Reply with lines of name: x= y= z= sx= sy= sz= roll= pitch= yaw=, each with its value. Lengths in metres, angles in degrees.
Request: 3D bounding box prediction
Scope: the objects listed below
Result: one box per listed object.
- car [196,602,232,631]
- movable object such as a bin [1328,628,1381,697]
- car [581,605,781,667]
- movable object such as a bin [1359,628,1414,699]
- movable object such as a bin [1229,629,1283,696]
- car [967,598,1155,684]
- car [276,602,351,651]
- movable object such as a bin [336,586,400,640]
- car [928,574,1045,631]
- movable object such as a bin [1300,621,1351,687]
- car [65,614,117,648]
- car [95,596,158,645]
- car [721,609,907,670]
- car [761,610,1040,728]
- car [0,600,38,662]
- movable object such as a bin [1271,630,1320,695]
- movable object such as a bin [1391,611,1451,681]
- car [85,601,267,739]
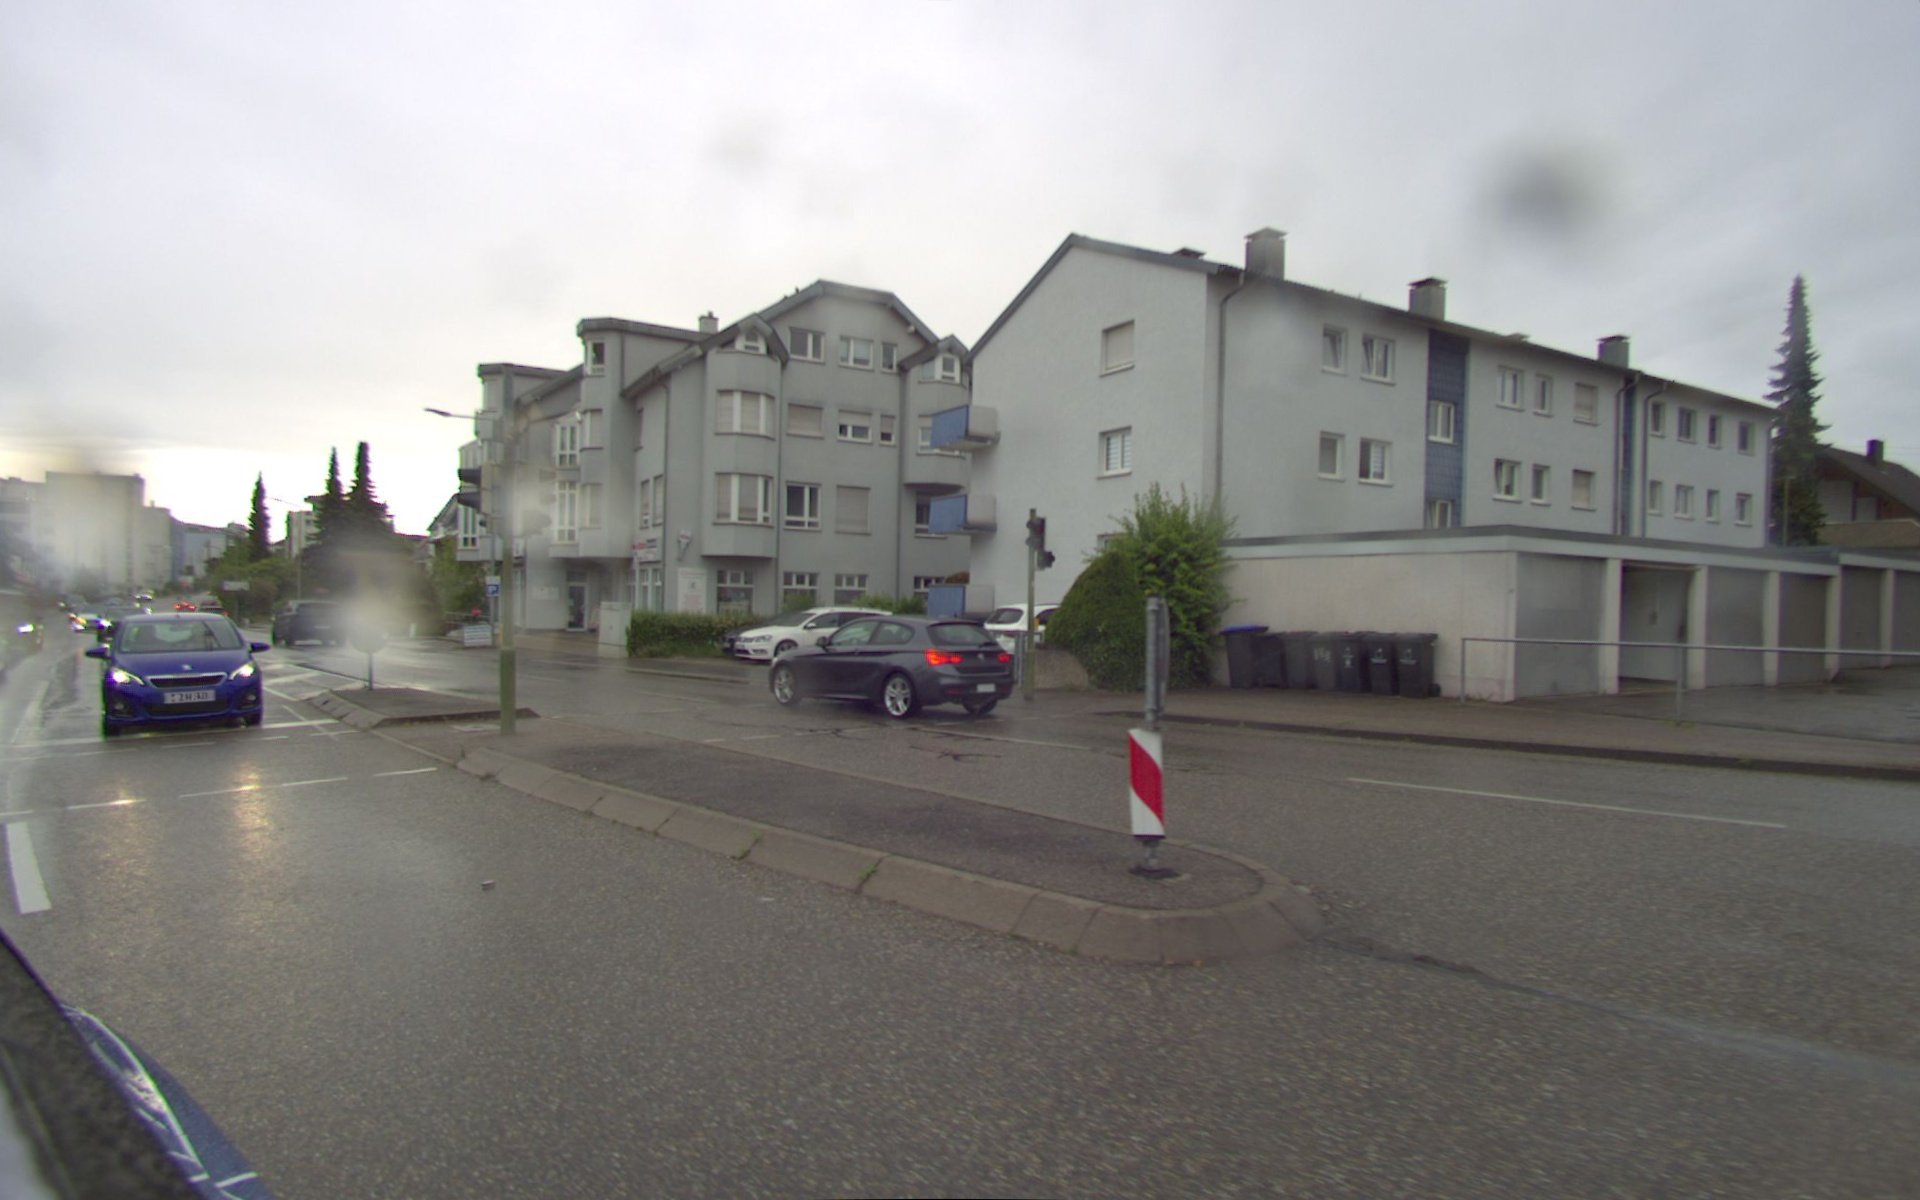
car: x=-54.286 y=1.195 z=73.639 sx=1.968 sy=2.029 sz=4.007 roll=0 pitch=-1 yaw=-39
movable object such as a bin: x=6.028 y=0.941 z=15.466 sx=0.492 sy=0.968 sz=0.536 roll=-4 pitch=3 yaw=-31
car: x=-8.287 y=1.012 z=30.347 sx=5.392 sy=1.696 sz=2.152 roll=0 pitch=-1 yaw=-38
movable object such as a bin: x=6.314 y=0.928 z=14.983 sx=0.492 sy=0.968 sz=0.536 roll=-4 pitch=2 yaw=-31
movable object such as a bin: x=4.963 y=1.031 z=16.970 sx=0.492 sy=1.026 sz=0.689 roll=-4 pitch=3 yaw=-31
car: x=2.299 y=0.864 z=22.686 sx=3.933 sy=1.763 sz=1.834 roll=0 pitch=-1 yaw=-35
car: x=-26.054 y=1.027 z=40.705 sx=2.070 sy=1.847 sz=4.742 roll=0 pitch=-1 yaw=-39
movable object such as a bin: x=-32.383 y=0.693 z=55.442 sx=2.877 sy=2.863 sz=2.204 roll=0 pitch=-1 yaw=-26
car: x=0.957 y=0.095 z=37.568 sx=3.932 sy=2.029 sz=2.006 roll=0 pitch=-1 yaw=-16
movable object such as a bin: x=5.754 y=0.842 z=15.924 sx=0.492 sy=0.968 sz=0.536 roll=-4 pitch=3 yaw=-31
car: x=-49.680 y=1.752 z=57.836 sx=1.970 sy=1.874 sz=4.003 roll=3 pitch=-2 yaw=-44
car: x=-36.213 y=0.888 z=44.050 sx=1.968 sy=2.029 sz=4.008 roll=0 pitch=-1 yaw=-38
car: x=-3.858 y=1.015 z=27.125 sx=4.549 sy=1.508 sz=1.934 roll=1 pitch=-1 yaw=-34
car: x=-0.991 y=0.900 z=14.933 sx=4.165 sy=1.483 sz=1.768 roll=-1 pitch=-1 yaw=44
car: x=-30.847 y=0.948 z=32.269 sx=1.970 sy=1.874 sz=4.003 roll=3 pitch=-2 yaw=-44
movable object such as a bin: x=5.440 y=0.997 z=16.400 sx=0.492 sy=0.968 sz=0.536 roll=-4 pitch=3 yaw=-31
movable object such as a bin: x=6.590 y=0.646 z=14.481 sx=0.492 sy=0.968 sz=0.603 roll=0 pitch=-1 yaw=-31
car: x=-10.345 y=0.813 z=13.270 sx=1.627 sy=1.568 sz=3.355 roll=0 pitch=-1 yaw=-42
